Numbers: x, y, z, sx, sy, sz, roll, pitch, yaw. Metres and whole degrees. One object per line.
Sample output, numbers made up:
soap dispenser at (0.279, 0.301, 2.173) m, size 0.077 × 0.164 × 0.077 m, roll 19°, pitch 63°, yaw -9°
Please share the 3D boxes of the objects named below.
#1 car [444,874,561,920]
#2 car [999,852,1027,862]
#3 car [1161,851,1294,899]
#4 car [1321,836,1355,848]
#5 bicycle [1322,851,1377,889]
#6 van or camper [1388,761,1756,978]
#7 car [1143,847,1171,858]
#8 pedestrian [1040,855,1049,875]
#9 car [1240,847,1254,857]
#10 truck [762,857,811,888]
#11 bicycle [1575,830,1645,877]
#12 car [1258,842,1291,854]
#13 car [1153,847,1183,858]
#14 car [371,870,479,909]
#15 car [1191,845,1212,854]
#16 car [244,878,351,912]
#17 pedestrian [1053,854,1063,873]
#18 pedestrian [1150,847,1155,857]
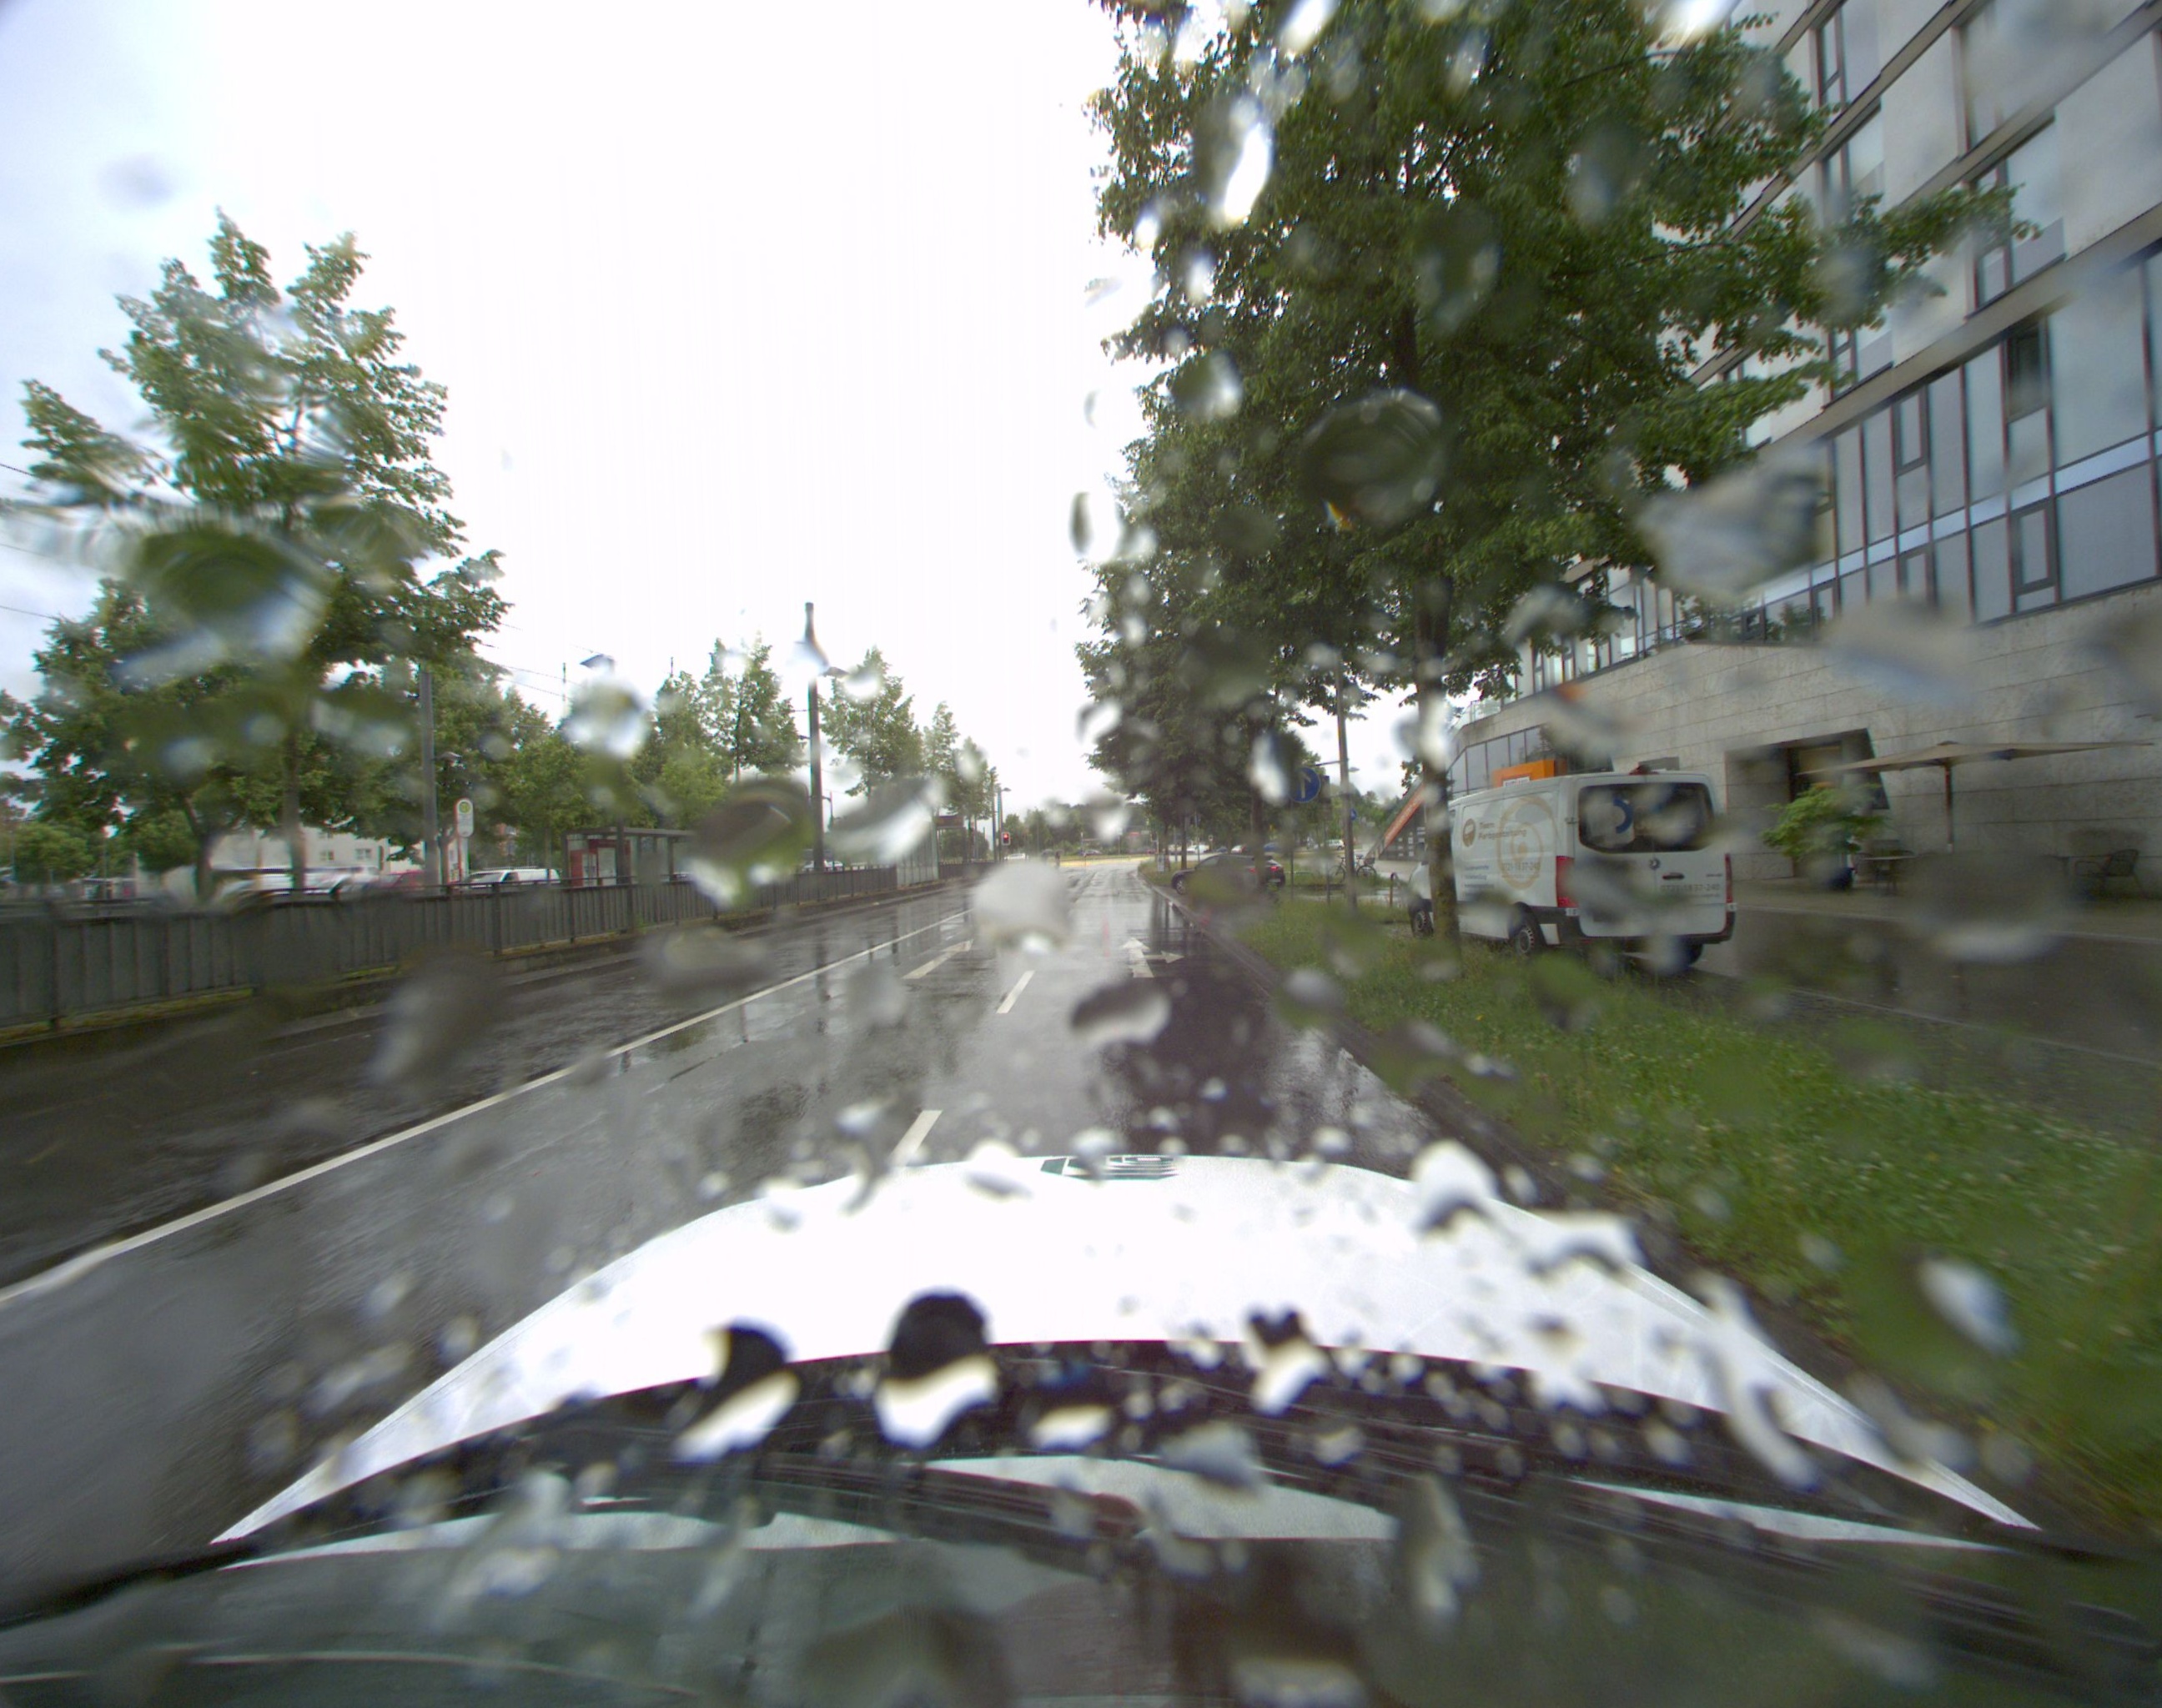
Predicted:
car at (-23.976, 1.727, 33.954) m, size 1.987 × 1.746 × 3.999 m, roll 0°, pitch -1°, yaw 0°
car at (-11.403, 0.423, 136.475) m, size 4.600 × 1.454 × 1.621 m, roll -3°, pitch 0°, yaw -5°
car at (4.978, 0.691, 28.130) m, size 1.842 × 1.420 × 4.295 m, roll -4°, pitch 2°, yaw -40°
car at (34.009, -1.609, 107.936) m, size 3.959 × 1.454 × 1.624 m, roll -3°, pitch 0°, yaw 2°
bicycle at (9.820, 0.594, 29.796) m, size 1.825 × 1.346 × 0.536 m, roll -1°, pitch 1°, yaw 28°
van or camper at (6.373, 0.184, 11.602) m, size 2.018 × 2.292 × 5.462 m, roll -2°, pitch 0°, yaw 2°
car at (11.371, -0.161, 122.293) m, size 3.937 × 1.454 × 1.633 m, roll -2°, pitch 0°, yaw 42°
pedestrian at (-2.802, 0.834, 63.025) m, size 0.618 × 1.522 × 0.741 m, roll -1°, pitch 0°, yaw 2°
car at (24.881, -0.300, 121.933) m, size 1.606 × 1.454 × 4.004 m, roll -2°, pitch 0°, yaw 15°
truck at (-37.816, 2.306, 104.928) m, size 2.676 × 3.778 × 9.189 m, roll 0°, pitch -1°, yaw 3°
bicycle at (16.440, -0.032, 25.373) m, size 0.729 × 1.402 × 2.427 m, roll 0°, pitch 1°, yaw 3°
car at (25.838, -0.793, 108.852) m, size 3.955 × 1.454 × 1.626 m, roll -3°, pitch 0°, yaw 5°
car at (12.532, -0.228, 117.188) m, size 4.061 × 1.454 × 1.633 m, roll -2°, pitch 0°, yaw 44°
car at (-48.307, 2.572, 60.229) m, size 1.607 × 2.470 × 6.511 m, roll -2°, pitch 0°, yaw 13°
car at (22.881, -0.759, 154.446) m, size 1.779 × 1.662 × 4.159 m, roll -1°, pitch -1°, yaw 44°
car at (-62.395, 3.199, 65.019) m, size 1.606 × 2.278 × 6.125 m, roll -3°, pitch 0°, yaw 15°
pedestrian at (-1.799, 0.751, 64.014) m, size 0.678 × 1.461 × 0.573 m, roll -4°, pitch -1°, yaw -2°
pedestrian at (9.797, -0.295, 111.587) m, size 0.448 × 1.304 × 0.489 m, roll -2°, pitch 0°, yaw 42°
